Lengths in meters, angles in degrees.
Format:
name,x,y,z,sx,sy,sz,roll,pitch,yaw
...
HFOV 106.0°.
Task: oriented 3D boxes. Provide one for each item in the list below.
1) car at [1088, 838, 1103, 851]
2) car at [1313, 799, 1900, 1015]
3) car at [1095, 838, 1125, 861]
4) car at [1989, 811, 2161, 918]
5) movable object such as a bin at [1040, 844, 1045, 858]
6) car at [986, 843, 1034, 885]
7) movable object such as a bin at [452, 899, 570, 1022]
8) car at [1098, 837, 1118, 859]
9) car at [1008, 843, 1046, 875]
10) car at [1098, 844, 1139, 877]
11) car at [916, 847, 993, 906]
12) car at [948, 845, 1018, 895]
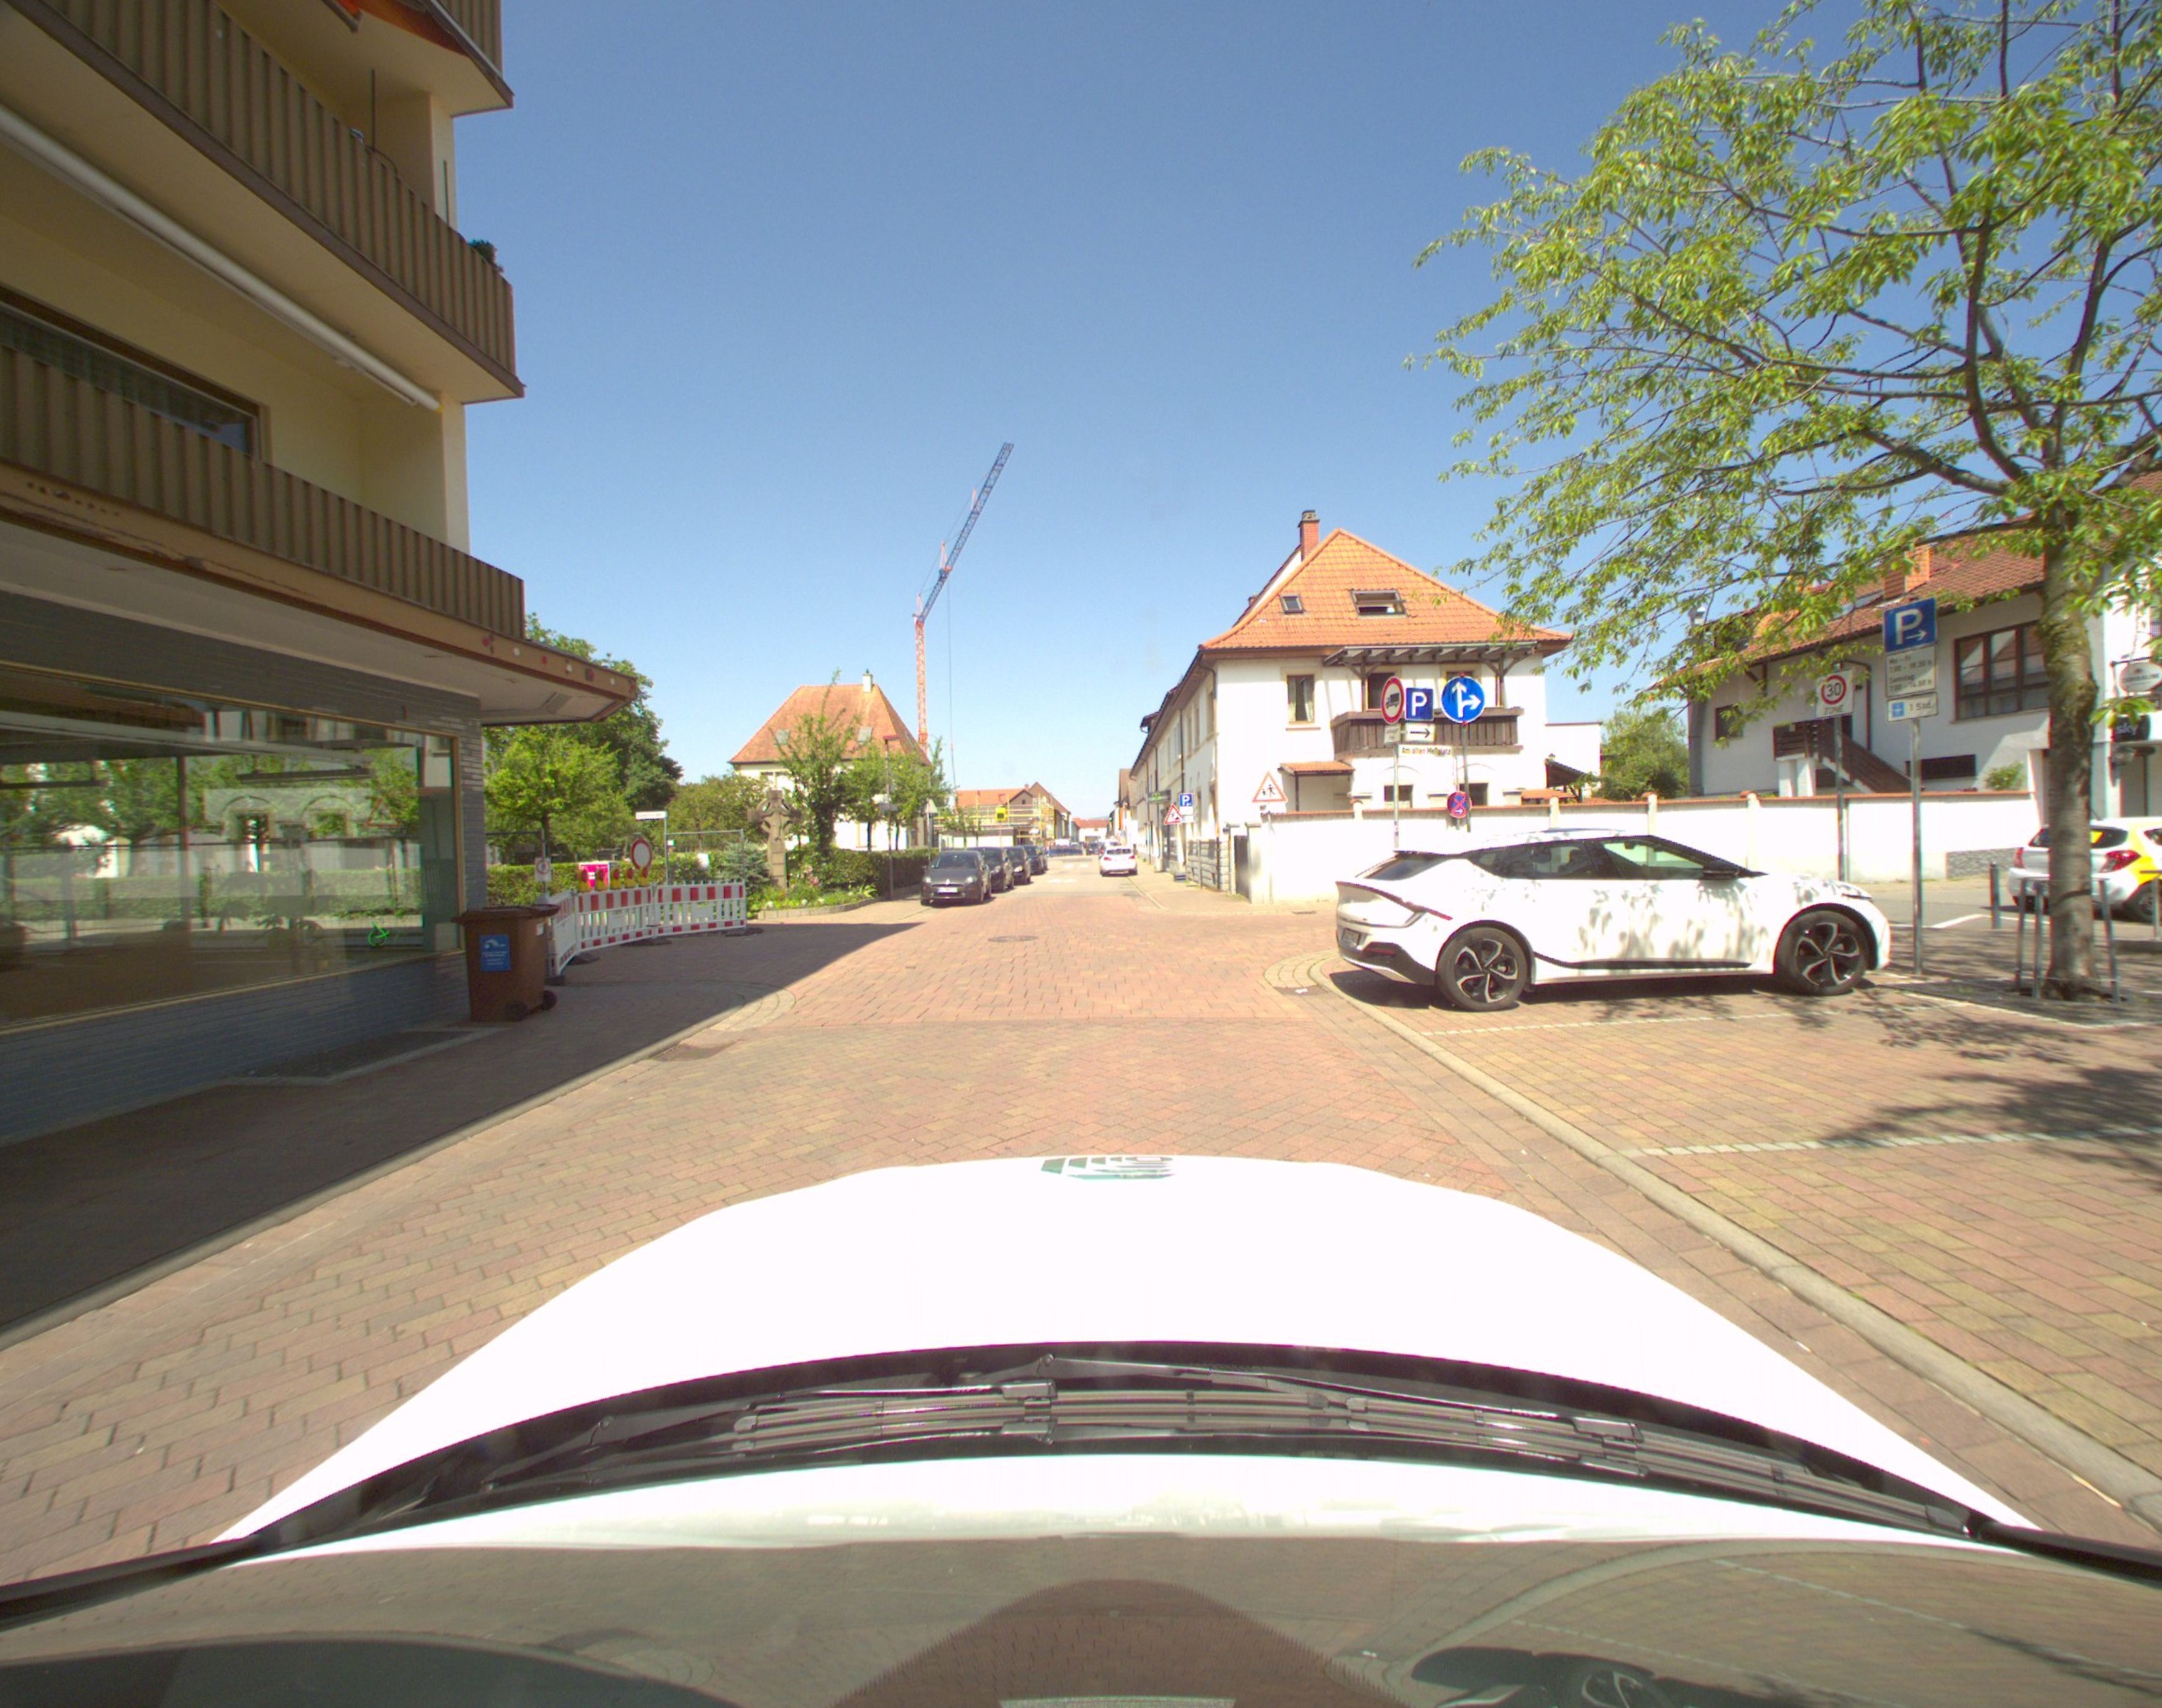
name,x,y,z,sx,sy,sz,roll,pitch,yaw
car,1.911,-1.248,105.421,1.875,1.668,4.153,-1,1,0
car,4.722,0.442,7.828,4.424,1.575,1.789,-3,1,1
car,2.171,-0.354,61.668,1.879,1.555,3.892,-5,1,-2
car,16.332,0.090,12.187,3.601,1.451,1.656,-2,1,2
movable object such as a bin,-3.347,-0.243,70.905,0.431,1.155,0.363,-2,1,-9
car,-2.980,0.387,34.956,1.632,1.628,3.768,-2,1,0
movable object such as a bin,-5.430,0.993,7.791,0.654,1.070,0.663,-1,0,-5
car,2.175,-0.546,67.039,1.559,1.612,3.544,-2,3,1
car,-2.996,0.244,45.741,1.821,1.630,4.216,-2,1,-1
car,2.006,0.279,42.001,1.877,1.542,4.249,-2,1,5
car,-3.544,0.578,23.393,1.698,1.496,3.854,-2,1,-2
car,-3.439,0.513,29.286,1.808,1.604,4.027,-2,1,2
